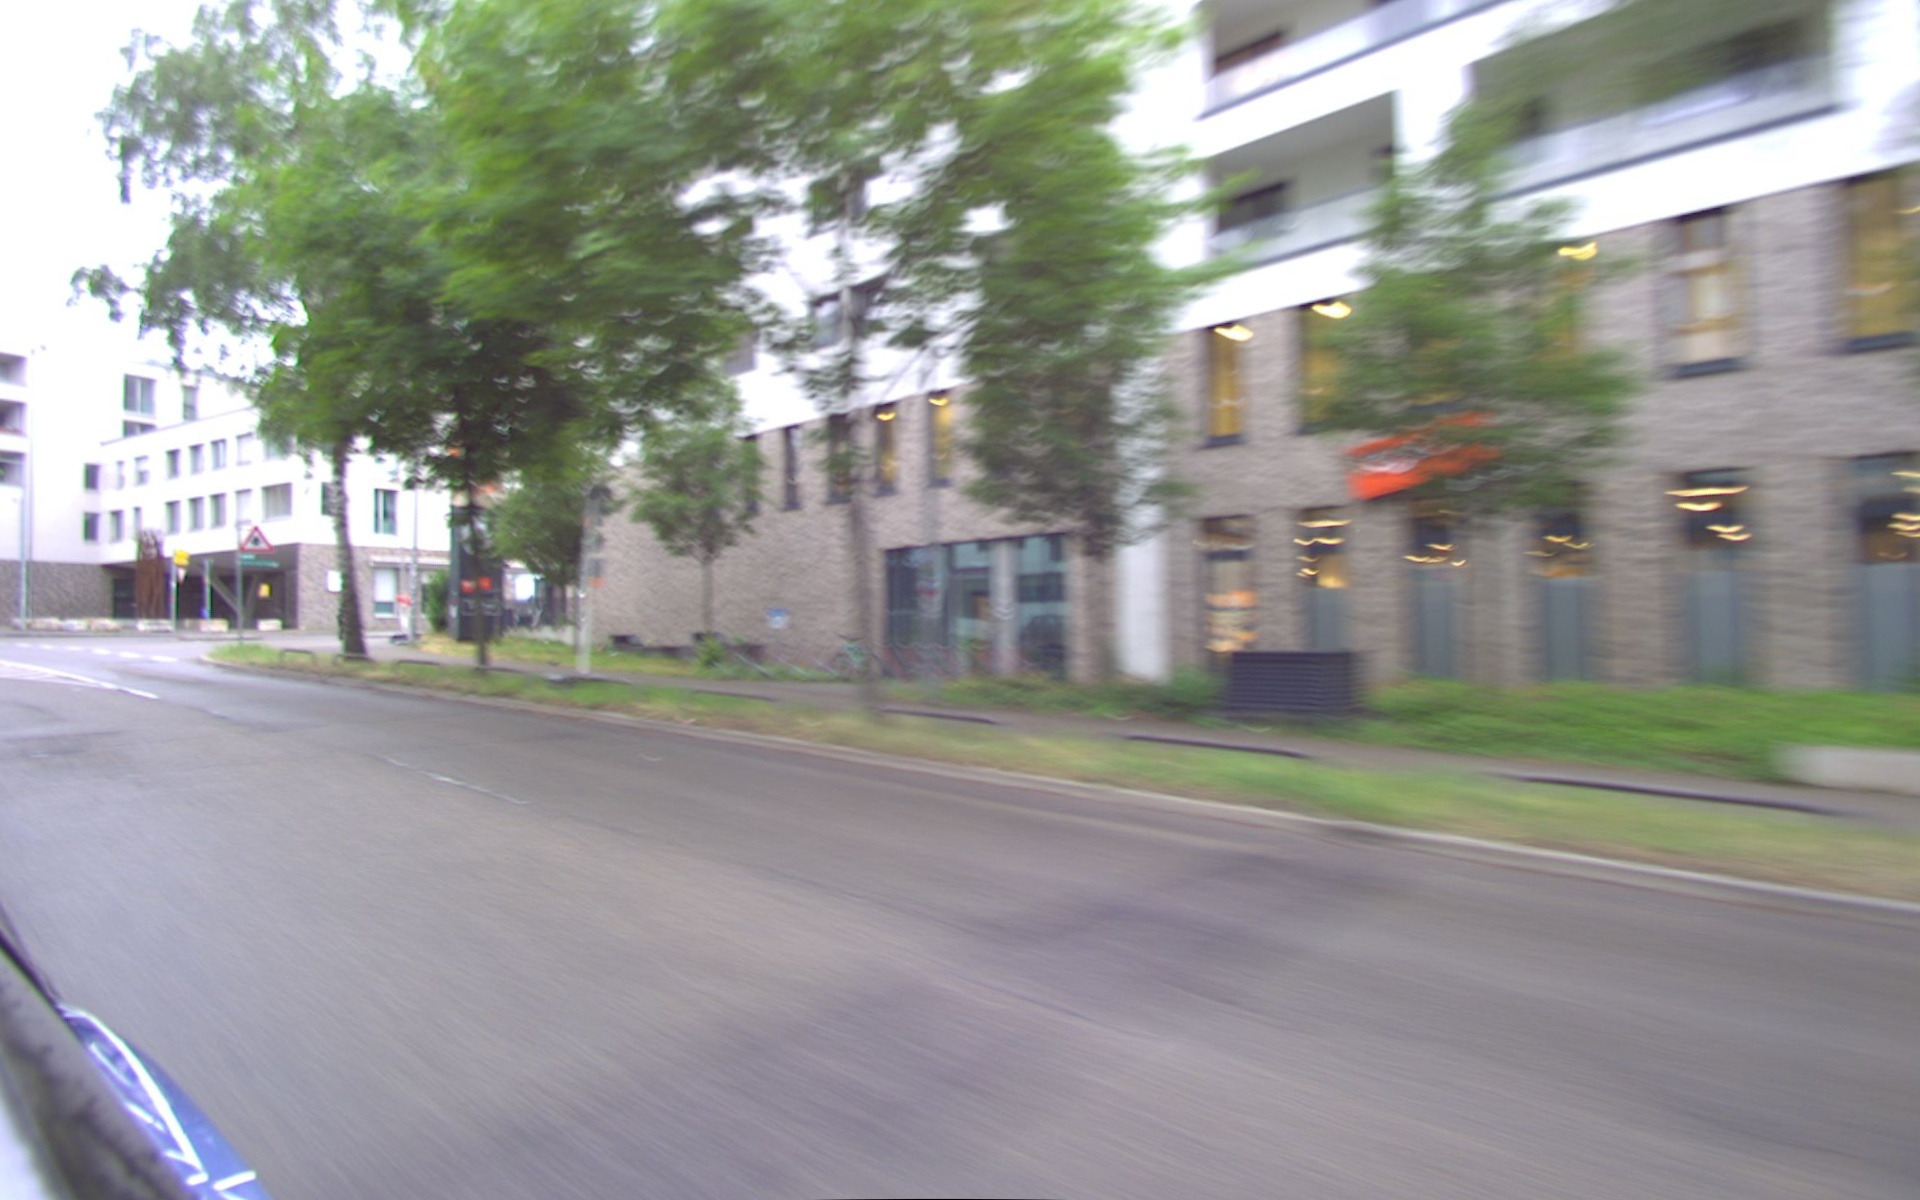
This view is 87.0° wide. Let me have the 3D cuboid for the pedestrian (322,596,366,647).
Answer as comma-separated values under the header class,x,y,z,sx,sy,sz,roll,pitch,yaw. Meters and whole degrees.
class,x,y,z,sx,sy,sz,roll,pitch,yaw
pedestrian,-25.131,0.847,41.313,1.088,2.029,1.055,1,0,11
